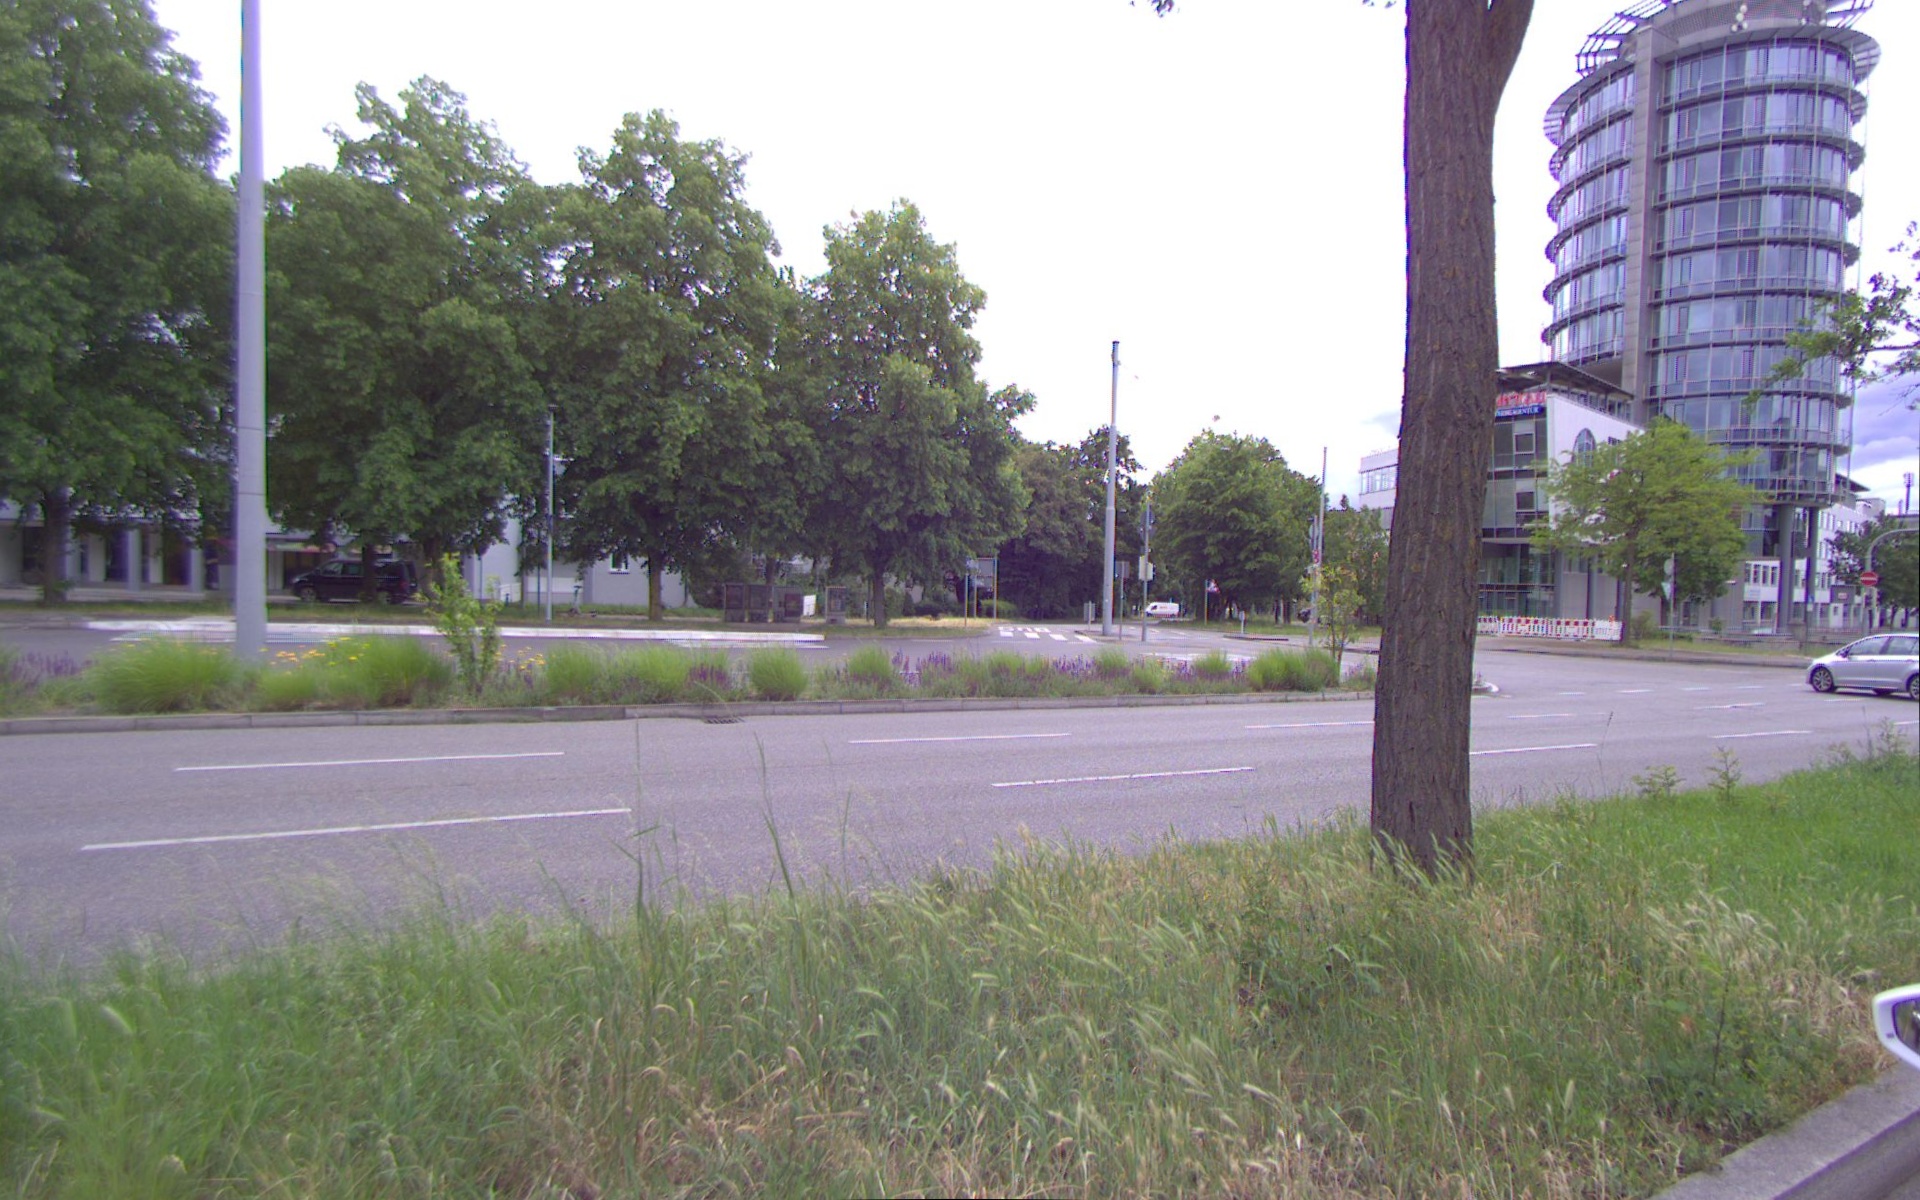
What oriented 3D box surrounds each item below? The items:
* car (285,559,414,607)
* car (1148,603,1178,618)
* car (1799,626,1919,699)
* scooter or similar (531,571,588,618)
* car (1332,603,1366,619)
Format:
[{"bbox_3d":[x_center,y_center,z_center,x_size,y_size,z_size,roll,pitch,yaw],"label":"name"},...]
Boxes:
[{"bbox_3d":[-26.183,-0.717,43.213,4.345,1.872,1.782,2,0,-16],"label":"car"},{"bbox_3d":[35.036,1.818,173.296,4.475,2.370,1.994,2,0,-15],"label":"car"},{"bbox_3d":[22.749,1.502,24.292,1.524,1.590,4.000,2,0,0],"label":"car"},{"bbox_3d":[-14.768,-0.196,37.061,1.835,1.686,0.645,2,0,-43],"label":"scooter or similar"},{"bbox_3d":[22.228,0.631,57.434,1.684,0.888,0.776,2,0,7],"label":"car"}]
